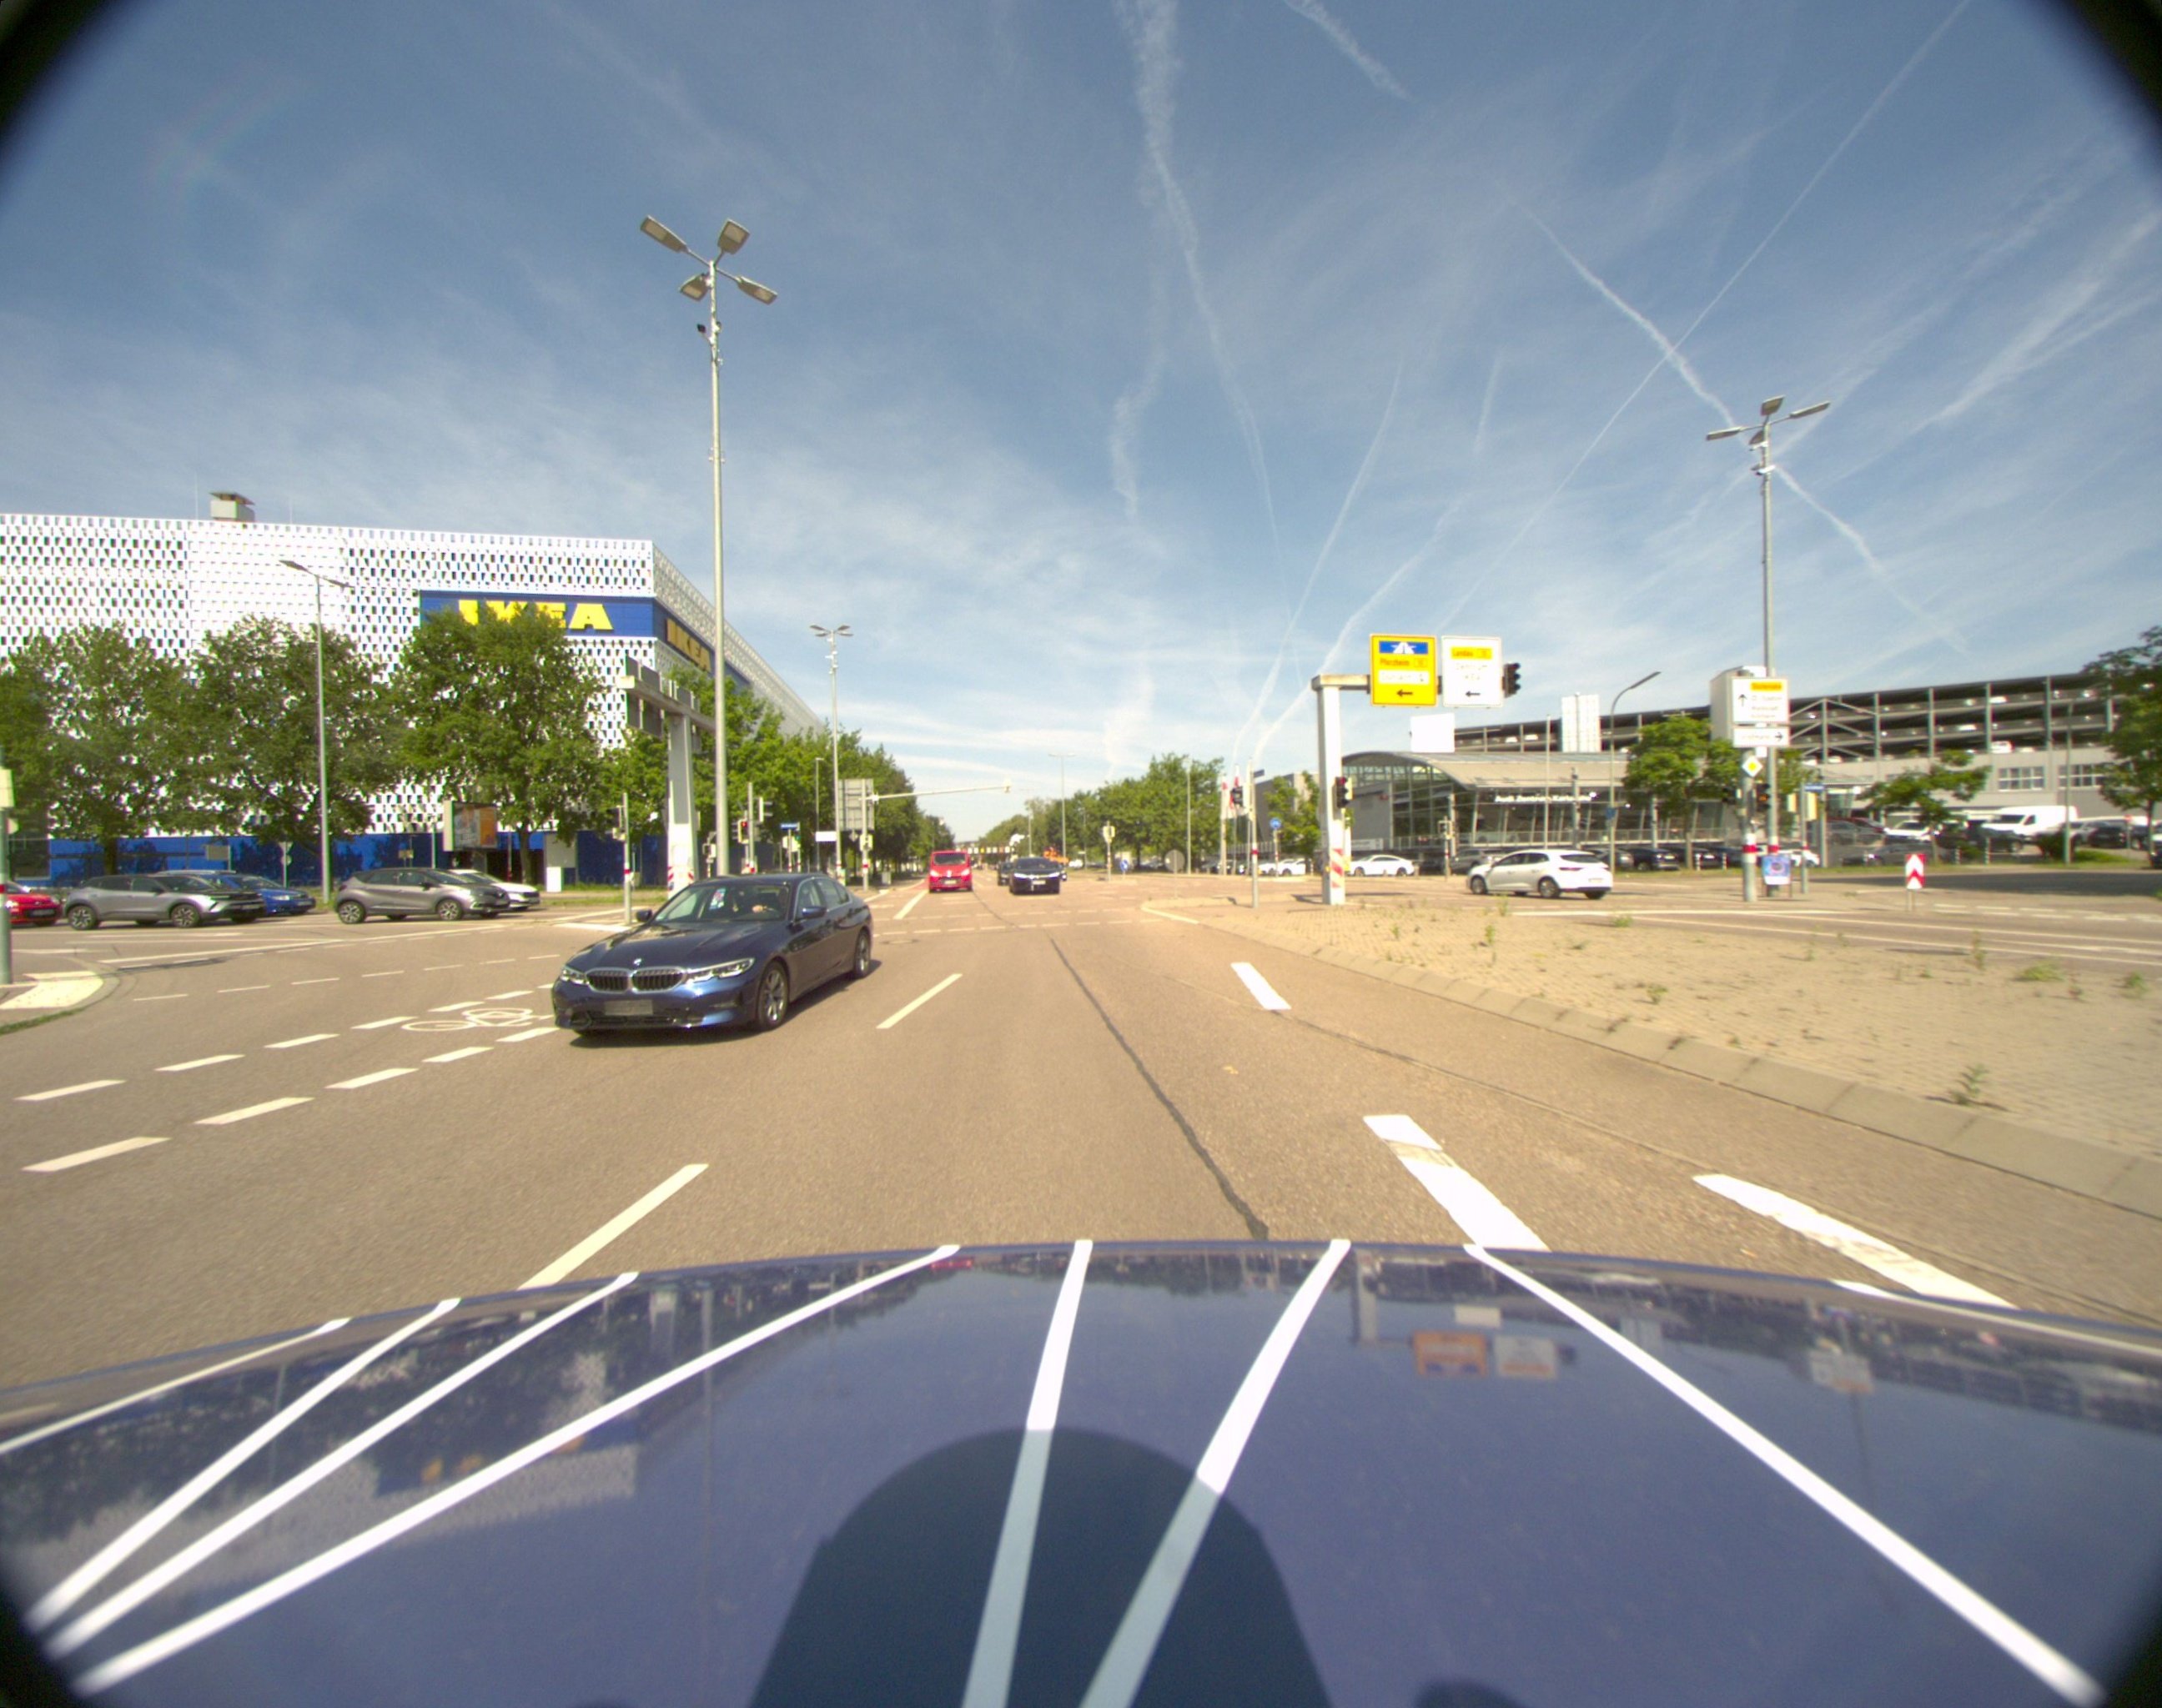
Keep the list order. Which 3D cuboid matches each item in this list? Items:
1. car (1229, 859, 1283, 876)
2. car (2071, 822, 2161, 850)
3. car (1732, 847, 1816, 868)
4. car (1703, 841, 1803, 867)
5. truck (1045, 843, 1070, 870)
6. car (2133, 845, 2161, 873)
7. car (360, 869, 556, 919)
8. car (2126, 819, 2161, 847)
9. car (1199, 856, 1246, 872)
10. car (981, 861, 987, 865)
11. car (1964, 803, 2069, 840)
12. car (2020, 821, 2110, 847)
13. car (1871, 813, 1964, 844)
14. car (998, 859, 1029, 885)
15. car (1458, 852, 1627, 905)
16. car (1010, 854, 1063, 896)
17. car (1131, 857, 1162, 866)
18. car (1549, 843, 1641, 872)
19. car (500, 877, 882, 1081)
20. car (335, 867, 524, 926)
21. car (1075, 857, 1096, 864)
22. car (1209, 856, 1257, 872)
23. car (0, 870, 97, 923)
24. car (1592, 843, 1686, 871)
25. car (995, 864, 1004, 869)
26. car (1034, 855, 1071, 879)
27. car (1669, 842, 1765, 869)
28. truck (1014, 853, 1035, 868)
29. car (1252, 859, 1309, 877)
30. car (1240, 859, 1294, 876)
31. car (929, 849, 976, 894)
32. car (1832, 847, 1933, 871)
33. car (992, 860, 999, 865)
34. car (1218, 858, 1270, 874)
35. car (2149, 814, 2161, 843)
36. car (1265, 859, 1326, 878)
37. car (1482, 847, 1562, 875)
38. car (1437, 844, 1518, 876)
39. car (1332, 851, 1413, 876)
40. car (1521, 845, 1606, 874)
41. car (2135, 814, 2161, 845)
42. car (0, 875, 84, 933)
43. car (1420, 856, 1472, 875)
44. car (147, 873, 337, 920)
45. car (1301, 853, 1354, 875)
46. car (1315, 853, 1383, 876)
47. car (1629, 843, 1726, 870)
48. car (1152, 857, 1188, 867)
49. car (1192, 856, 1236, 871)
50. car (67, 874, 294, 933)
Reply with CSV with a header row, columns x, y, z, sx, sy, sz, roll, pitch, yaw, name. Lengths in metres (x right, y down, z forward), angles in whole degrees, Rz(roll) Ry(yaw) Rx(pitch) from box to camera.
x,y,z,sx,sy,sz,roll,pitch,yaw,name
15.280,1.169,66.386,4.189,1.327,1.853,1,-1,-10,car
67.103,-1.172,49.232,3.986,1.565,1.998,-3,0,-11,car
49.600,0.261,54.473,4.018,1.433,1.800,-1,0,20,car
42.018,0.034,47.678,1.793,1.433,4.557,-1,-2,-10,car
-3.457,0.355,109.544,2.755,3.658,7.574,-1,0,-8,truck
52.422,0.185,35.775,3.803,1.282,1.659,-1,0,-4,car
-20.698,1.301,25.422,4.731,1.417,1.958,-1,1,-6,car
67.519,-1.365,46.921,3.986,1.565,1.998,-3,0,-11,car
13.896,0.983,74.652,4.230,1.386,1.801,1,-1,-10,car
-32.443,3.026,253.514,1.867,1.503,3.998,-1,-1,-7,car
66.712,-2.338,54.222,5.551,2.328,2.087,-2,0,-8,car
67.036,-1.370,51.789,3.985,1.565,1.999,-3,0,-8,car
55.803,-1.731,50.725,4.548,1.898,2.085,-2,4,-11,car
-4.275,1.086,47.587,1.561,1.500,3.836,-3,0,-10,car
13.763,0.681,23.001,1.788,1.452,4.328,1,0,-15,car
-1.908,0.850,31.615,1.849,1.530,3.997,-3,0,-7,car
9.429,1.103,109.354,4.200,1.248,1.689,1,-1,-8,car
31.185,0.267,46.261,1.793,1.496,4.775,-1,-3,-10,car
-3.712,1.070,8.358,1.800,1.421,4.537,-2,0,0,car
-19.176,1.219,22.528,3.896,1.549,1.808,-2,0,-5,car
1.002,1.352,160.012,4.200,1.490,1.689,1,-1,-8,car
14.393,0.943,71.992,4.125,1.346,1.834,1,-1,-11,car
-35.250,1.387,24.667,4.129,1.610,1.683,-2,0,-4,car
34.030,0.229,46.533,1.784,1.507,4.672,-1,-3,-10,car
-20.525,3.139,192.021,1.853,1.451,4.660,1,-1,-11,car
-2.022,0.879,52.169,1.884,1.513,4.865,-3,0,-9,car
39.346,0.142,47.160,1.793,1.433,4.400,-1,-2,-10,car
-10.136,1.191,135.074,2.384,2.609,6.665,-3,0,-15,truck
16.026,1.121,61.011,4.000,1.311,1.867,1,-1,-9,car
15.561,1.156,63.539,4.000,1.311,1.836,1,-1,-8,car
-6.134,0.796,36.537,2.015,1.896,4.806,-3,0,-9,car
50.337,0.311,47.795,4.019,1.433,1.800,-1,0,17,car
-24.294,2.477,215.969,1.734,1.430,3.867,0,-1,-9,car
14.878,1.072,69.333,4.295,1.346,1.828,1,-1,-10,car
74.205,-1.764,49.635,2.000,2.002,4.747,-1,0,-10,car
16.500,1.090,58.428,4.086,1.362,1.877,1,-1,-9,car
25.962,0.453,44.897,1.793,1.433,4.199,-1,-3,-10,car
23.265,0.406,44.763,1.819,1.603,4.594,-1,-3,-8,car
18.438,0.592,48.122,4.386,1.424,1.898,-1,0,-7,car
28.736,0.366,45.449,1.793,1.534,4.374,-1,-3,-10,car
72.009,-1.661,48.717,2.000,2.002,4.747,-1,0,-10,car
-31.503,1.445,21.779,3.480,1.566,1.598,-1,0,-5,car
26.816,0.826,55.982,1.611,1.298,3.680,-1,0,-10,car
-27.553,1.376,25.081,4.057,1.334,1.723,-2,1,-6,car
17.731,0.705,54.927,1.803,1.487,4.422,-1,0,-9,car
17.801,0.685,50.543,3.847,1.394,1.762,-1,0,-11,car
36.625,0.186,46.815,1.793,1.433,4.630,-1,-3,-10,car
11.255,0.967,96.490,4.200,1.188,1.689,1,-1,-8,car
13.527,0.990,77.343,4.038,1.393,1.808,1,-1,-10,car
-26.128,1.404,22.190,4.040,1.500,1.907,-1,1,-6,car
